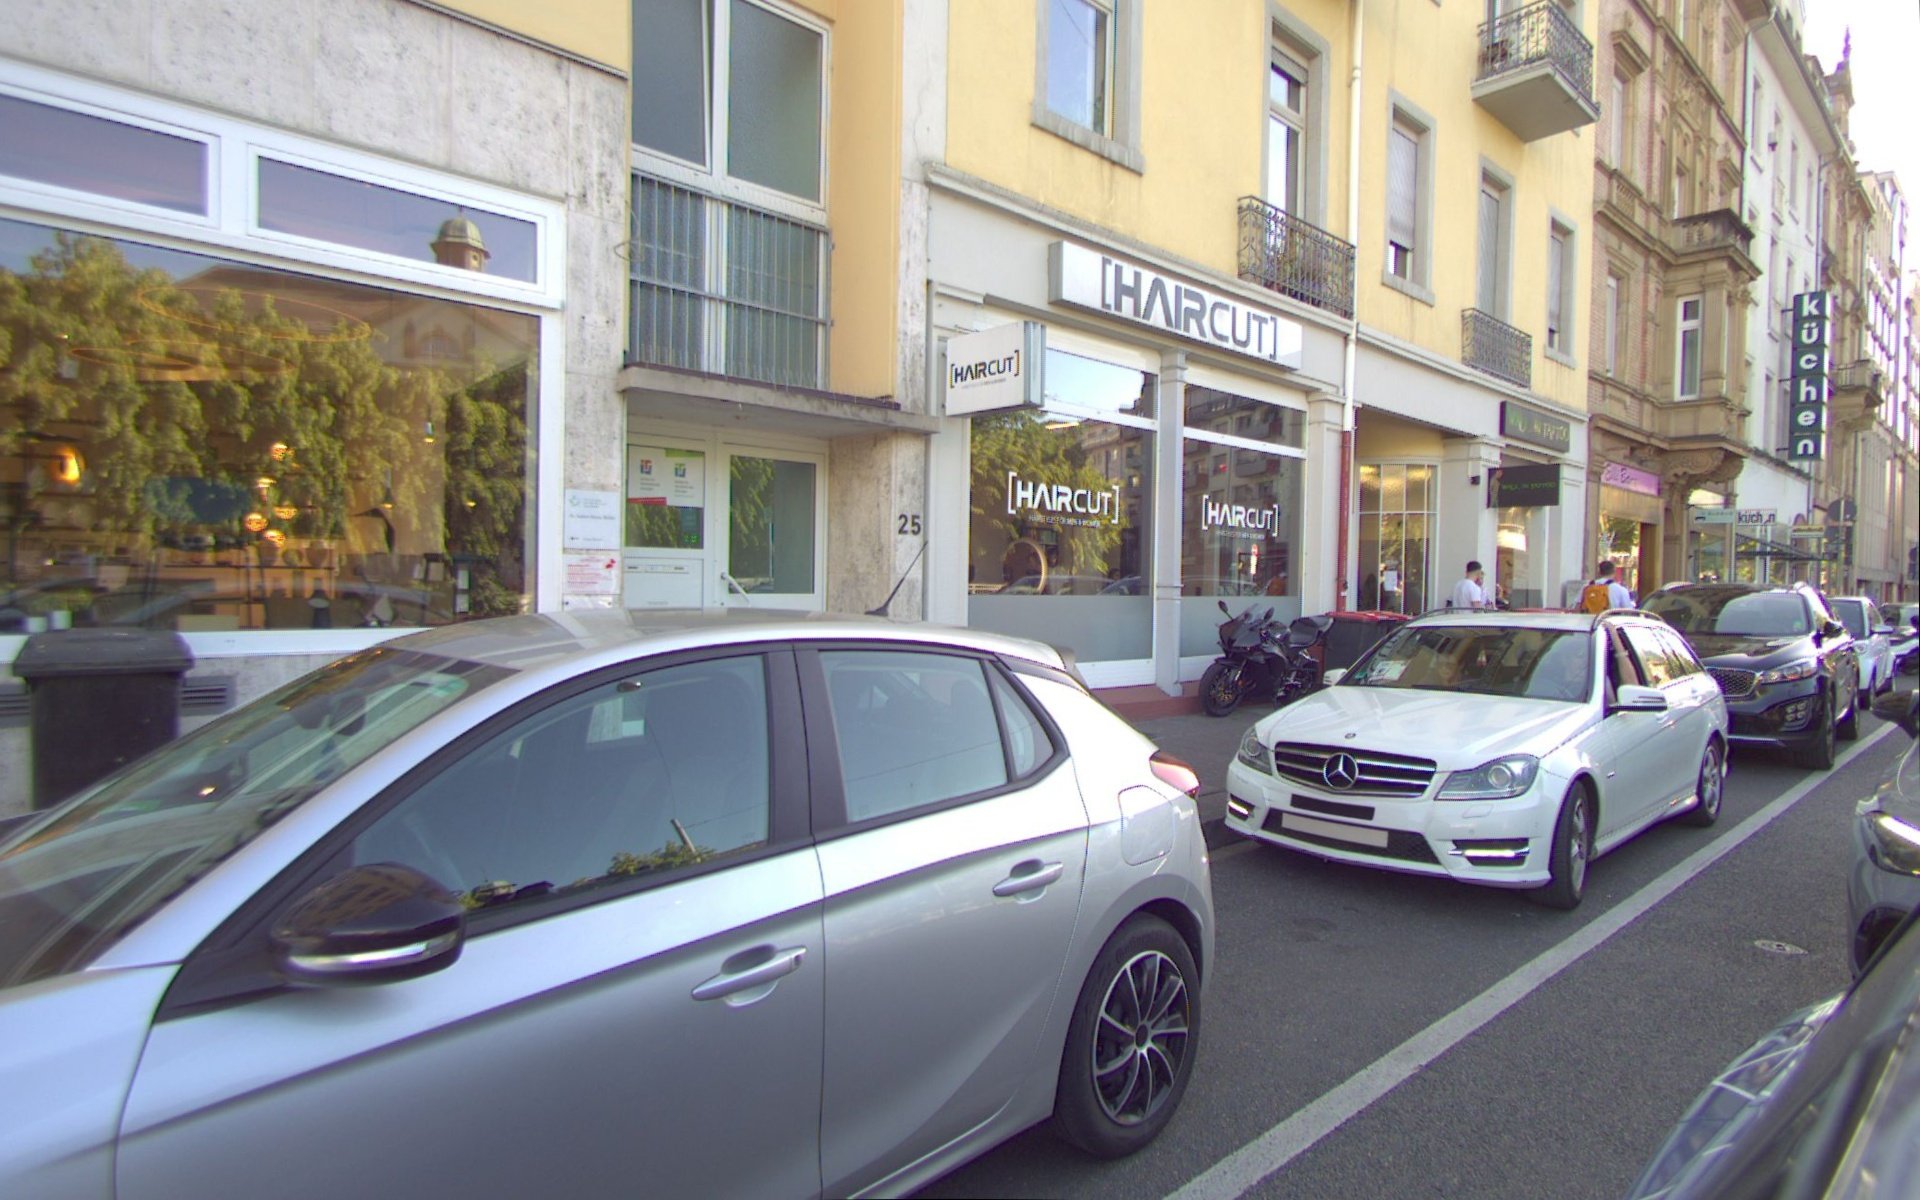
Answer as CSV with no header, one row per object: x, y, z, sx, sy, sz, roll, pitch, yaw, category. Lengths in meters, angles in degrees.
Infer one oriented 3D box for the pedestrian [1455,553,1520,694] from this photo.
7.234,0.304,13.868,0.627,1.859,0.760,0,0,41,pedestrian

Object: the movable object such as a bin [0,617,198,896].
-3.679,0.602,4.317,0.639,1.036,0.737,0,0,-41,movable object such as a bin

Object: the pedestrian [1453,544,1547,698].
6.835,0.257,12.849,0.961,1.900,0.532,0,0,18,pedestrian

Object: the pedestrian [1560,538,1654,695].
8.006,0.183,12.510,0.809,1.845,0.967,0,1,44,pedestrian

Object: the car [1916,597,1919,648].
26.604,0.578,26.921,3.306,1.334,1.459,-1,0,-42,car

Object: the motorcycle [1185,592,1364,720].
3.296,0.526,10.498,2.073,1.144,0.735,-1,5,-41,motorcycle

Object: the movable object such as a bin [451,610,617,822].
-2.332,0.583,5.531,0.639,1.036,0.737,0,0,-41,movable object such as a bin

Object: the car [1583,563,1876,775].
8.004,0.533,10.360,4.338,1.711,1.802,-1,0,-45,car

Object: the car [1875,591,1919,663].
21.892,0.569,22.803,3.736,1.509,1.691,-1,0,-45,car

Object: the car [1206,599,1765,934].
3.527,0.711,6.381,4.301,1.389,1.671,-1,0,-41,car

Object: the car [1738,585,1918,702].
12.765,0.550,14.846,2.945,1.542,1.582,-1,0,-41,car

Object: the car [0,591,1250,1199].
-1.011,0.717,2.301,3.625,1.455,1.585,-1,0,-43,car

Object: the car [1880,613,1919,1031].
5.392,0.752,4.370,4.397,1.385,1.767,-1,1,-43,car
